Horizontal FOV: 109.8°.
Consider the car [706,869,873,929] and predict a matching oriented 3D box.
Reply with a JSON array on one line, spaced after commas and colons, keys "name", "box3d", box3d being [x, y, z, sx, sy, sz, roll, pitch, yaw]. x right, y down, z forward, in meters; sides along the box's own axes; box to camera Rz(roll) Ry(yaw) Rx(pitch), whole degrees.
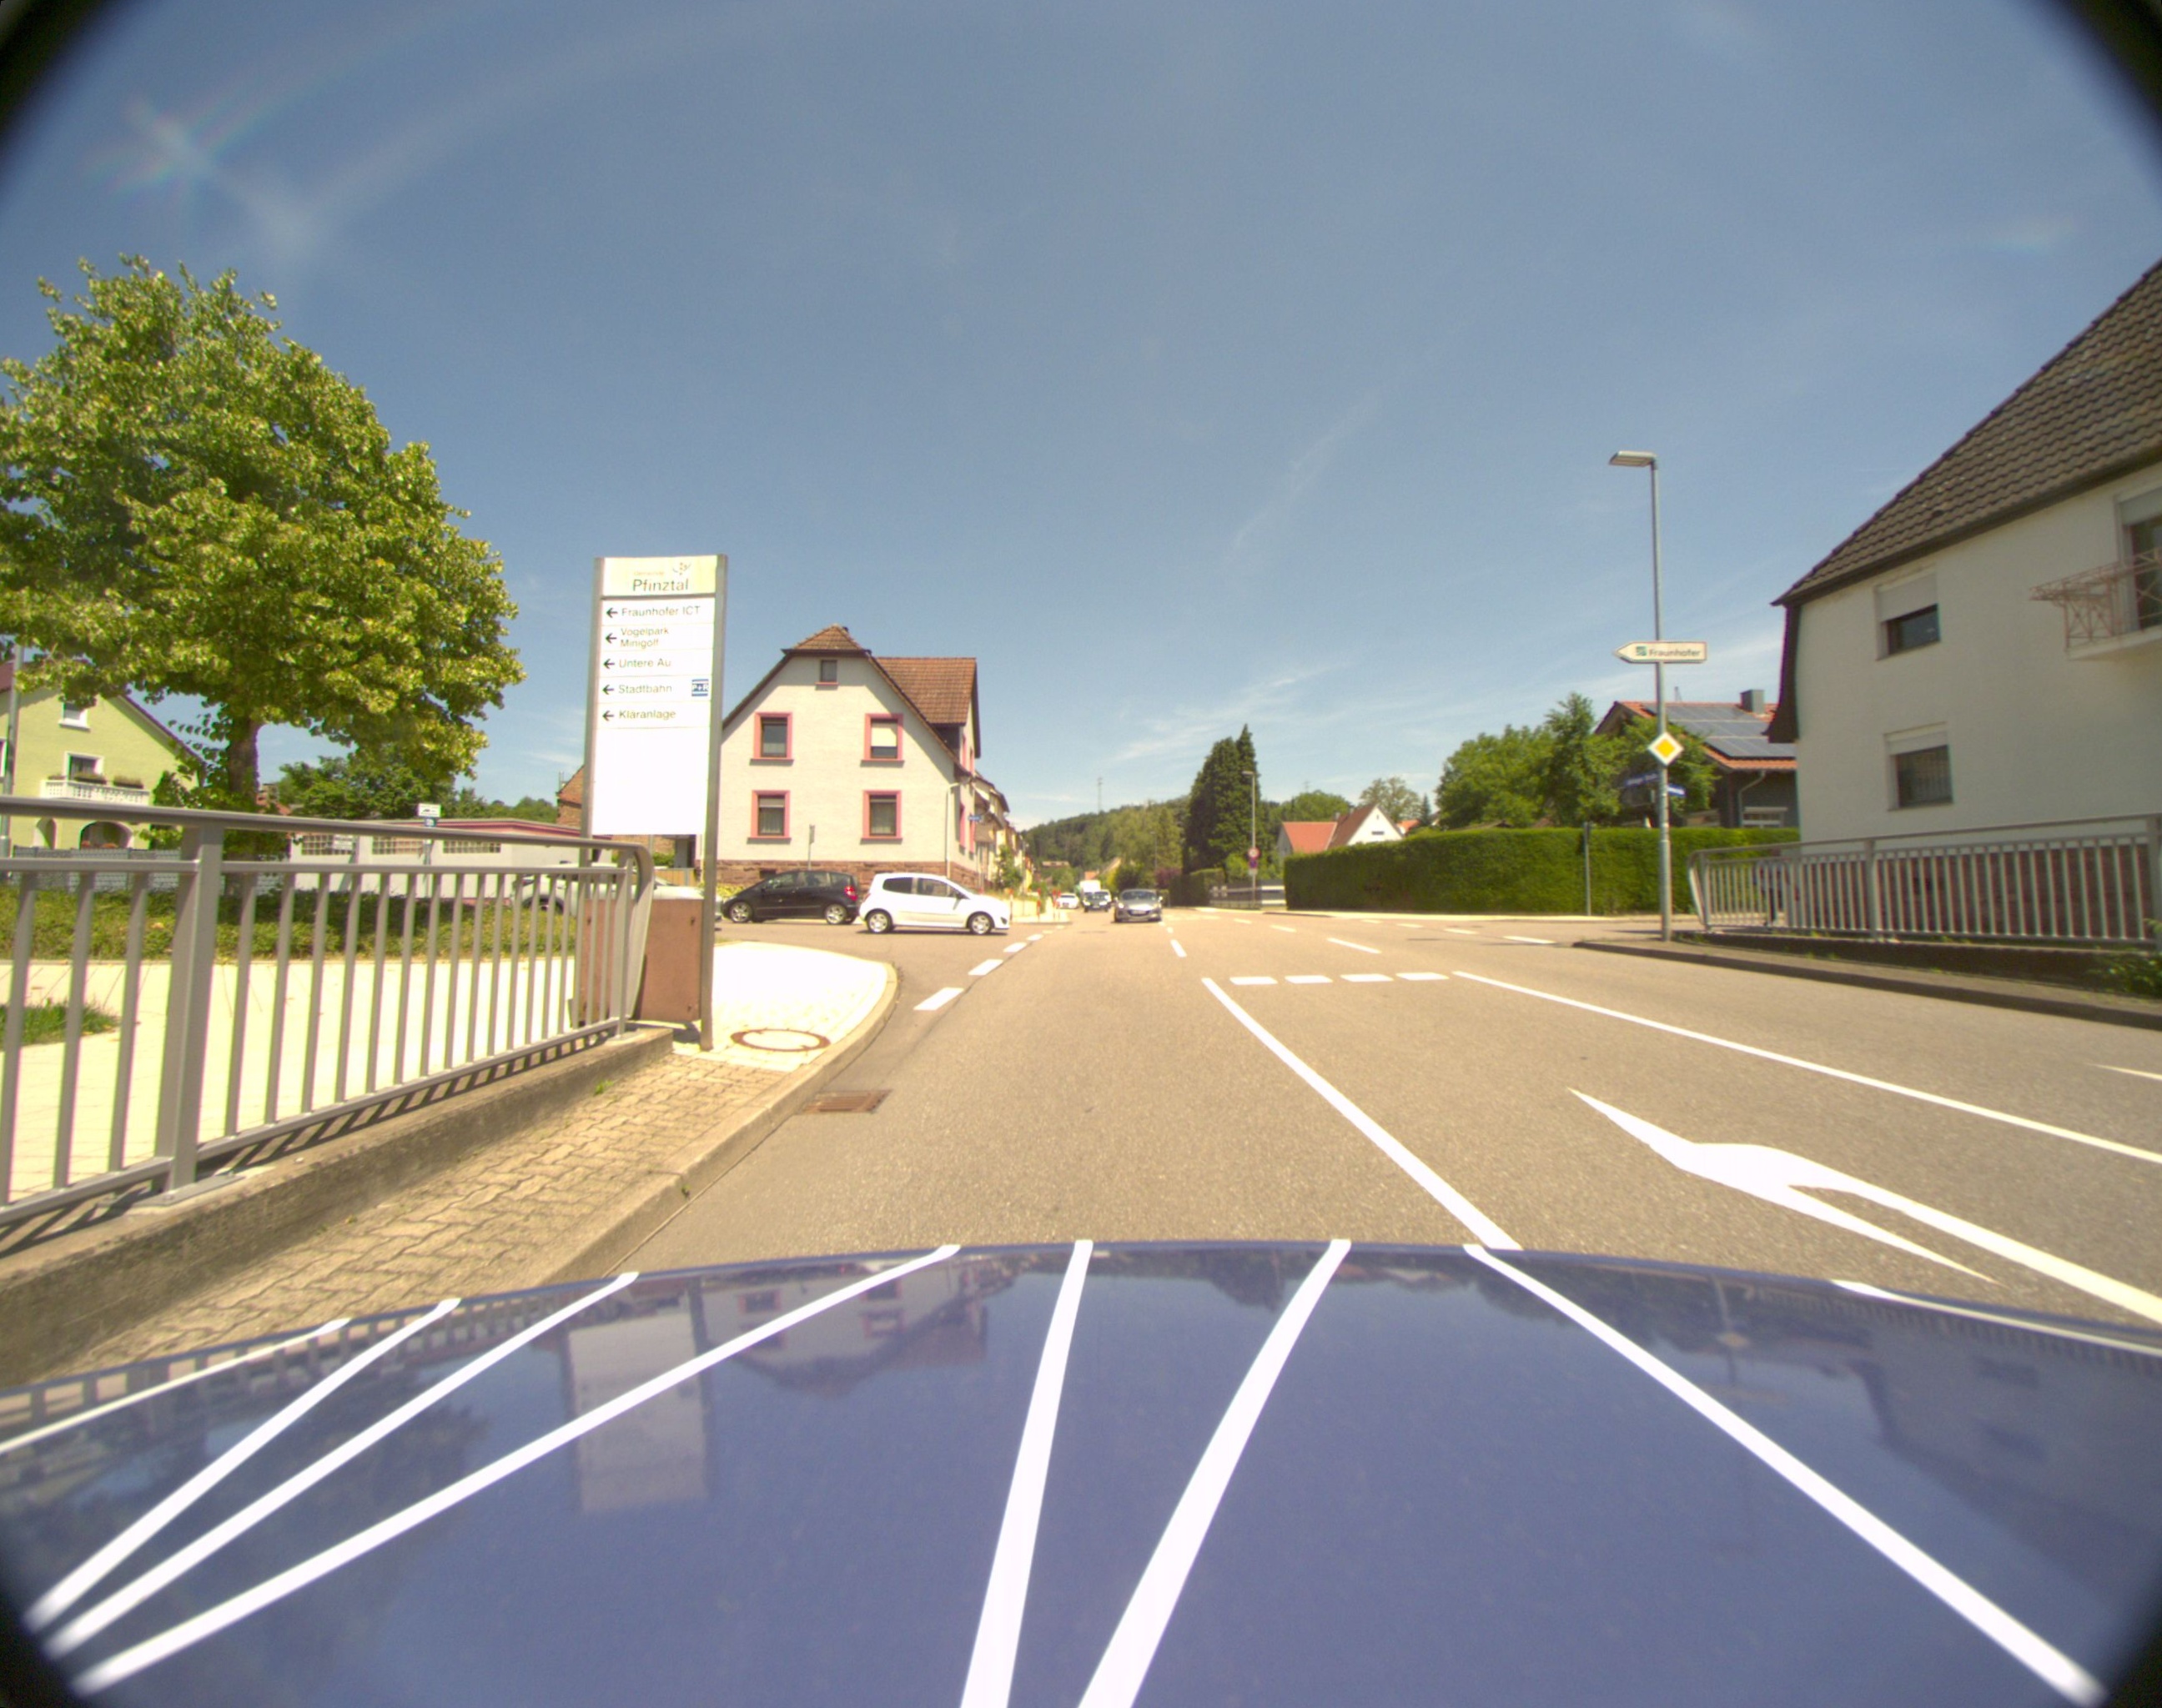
[{"name": "car", "box3d": [-8.281, 1.299, 21.929, 4.156, 1.579, 1.869, -1, -3, -8]}]

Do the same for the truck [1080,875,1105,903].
[{"name": "truck", "box3d": [1.547, 4.657, 101.126, 3.149, 3.465, 8.276, -1, -3, 1]}]

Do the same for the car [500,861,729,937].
[{"name": "car", "box3d": [-10.330, 1.031, 17.229, 4.132, 1.526, 1.773, 3, -2, -22]}]

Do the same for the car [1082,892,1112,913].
[{"name": "car", "box3d": [1.150, 3.599, 56.590, 1.865, 1.440, 4.001, -1, -3, -4]}]

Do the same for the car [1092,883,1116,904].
[{"name": "car", "box3d": [2.259, 3.937, 76.374, 1.999, 2.001, 4.549, -2, -3, -2]}]

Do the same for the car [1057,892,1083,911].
[{"name": "car", "box3d": [-0.931, 4.247, 68.645, 1.998, 1.509, 4.147, 3, -3, 3]}]

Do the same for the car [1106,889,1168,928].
[{"name": "car", "box3d": [2.063, 2.039, 29.106, 1.910, 1.296, 4.158, -2, -3, -1]}]

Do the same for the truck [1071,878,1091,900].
[{"name": "truck", "box3d": [-0.110, 5.905, 127.168, 3.149, 3.464, 8.275, -1, -3, -1]}]

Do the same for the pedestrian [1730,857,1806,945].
[{"name": "pedestrian", "box3d": [13.980, 0.938, 15.482, 0.729, 1.719, 0.856, -2, 0, -3]}]

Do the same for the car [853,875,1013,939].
[{"name": "car", "box3d": [-3.554, 1.273, 18.709, 3.681, 1.469, 1.775, 1, -2, -7]}]
